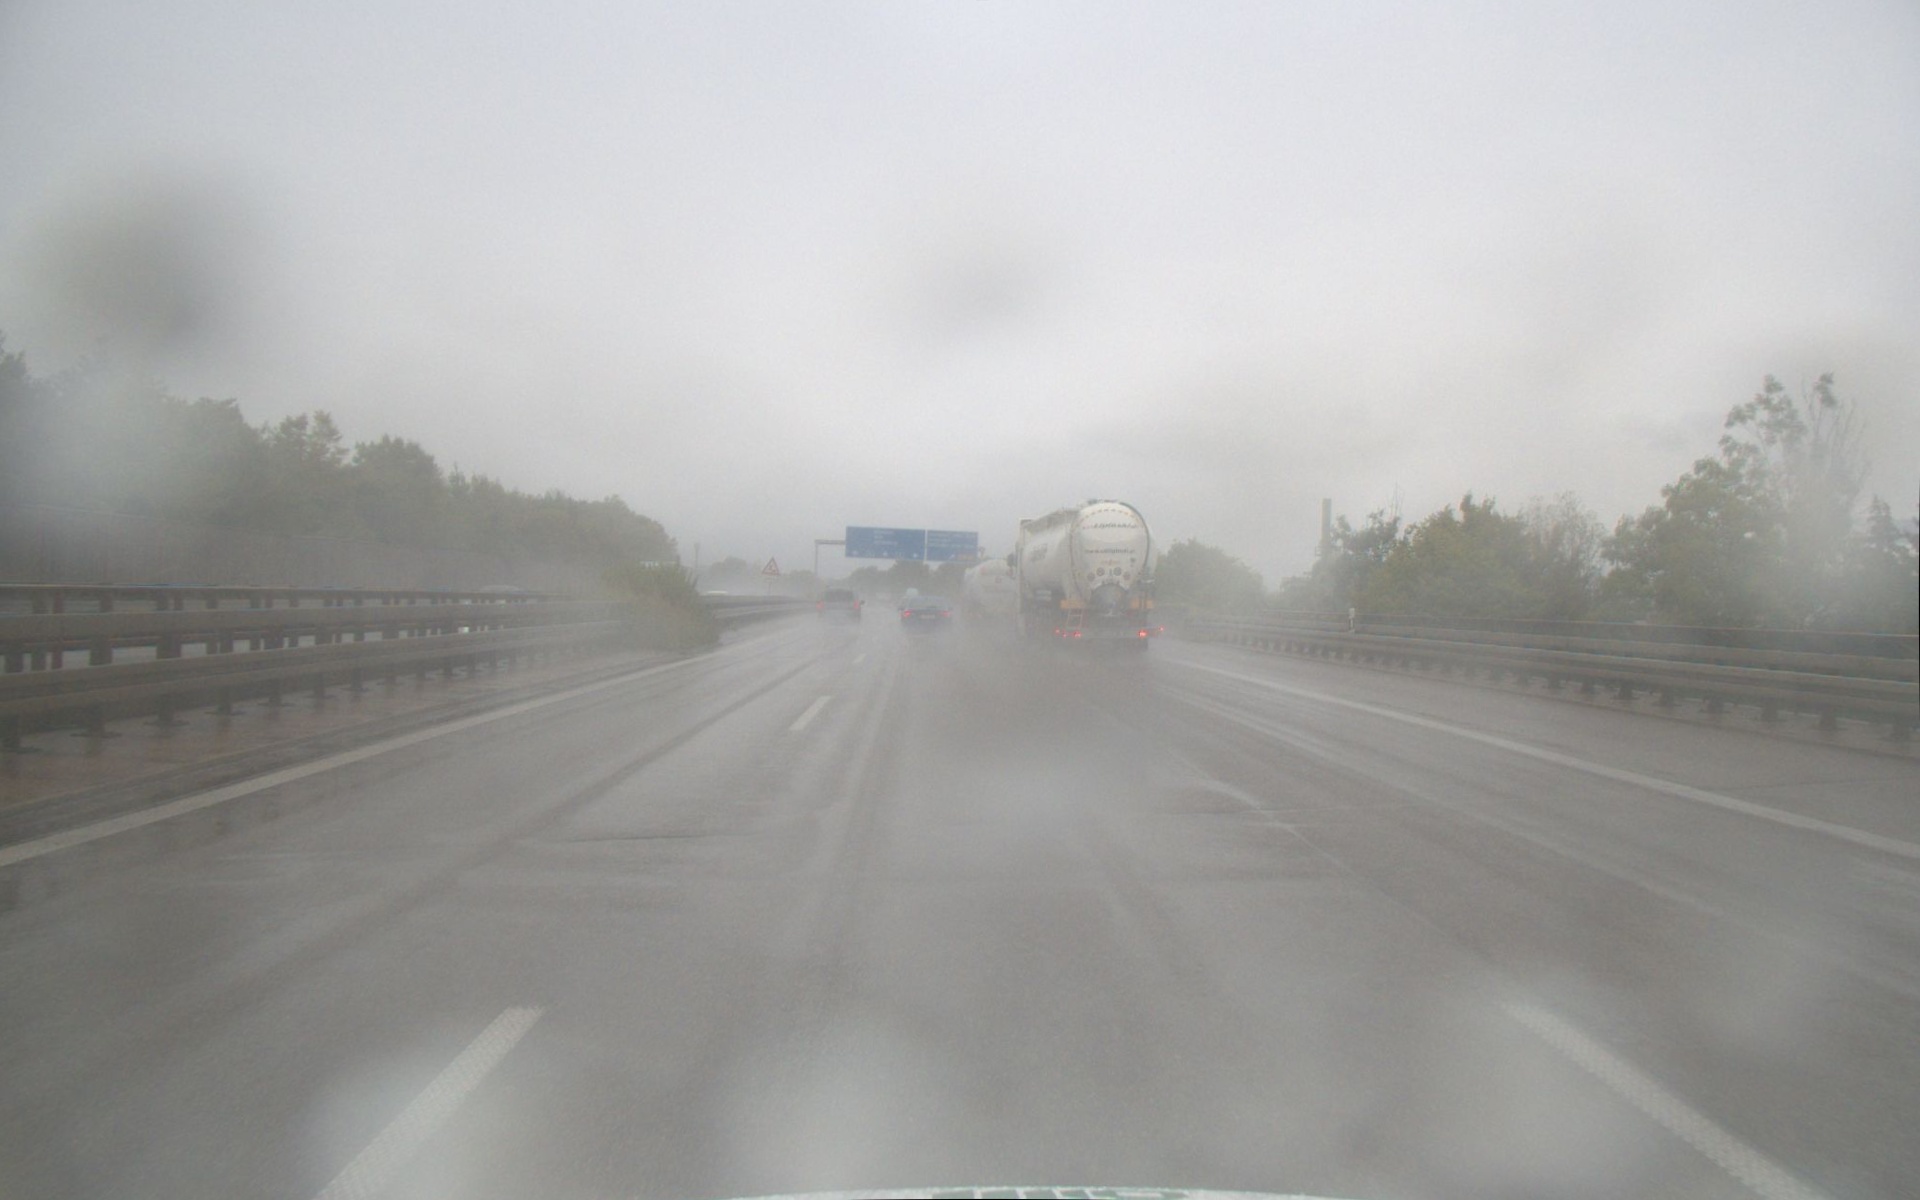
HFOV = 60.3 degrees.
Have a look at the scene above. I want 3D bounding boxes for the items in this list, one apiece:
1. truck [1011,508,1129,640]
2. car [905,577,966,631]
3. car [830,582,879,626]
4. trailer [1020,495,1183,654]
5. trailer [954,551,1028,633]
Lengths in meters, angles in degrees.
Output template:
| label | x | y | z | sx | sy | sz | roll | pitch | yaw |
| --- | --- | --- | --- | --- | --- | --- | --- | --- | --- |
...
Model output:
| label | x | y | z | sx | sy | sz | roll | pitch | yaw |
| --- | --- | --- | --- | --- | --- | --- | --- | --- | --- |
| truck | 3.347 | -0.775 | 52.377 | 3.042 | 3.873 | 7.210 | 0 | 0 | -2 |
| car | -0.810 | 0.112 | 57.705 | 1.937 | 1.787 | 4.482 | 1 | 1 | 1 |
| car | -4.488 | 0.146 | 70.700 | 1.886 | 1.771 | 4.403 | 1 | 0 | -1 |
| trailer | 3.567 | -0.640 | 45.051 | 3.124 | 3.734 | 11.663 | 0 | 0 | -2 |
| trailer | 1.500 | -0.418 | 85.839 | 2.945 | 3.915 | 8.616 | 2 | 0 | -4 |
